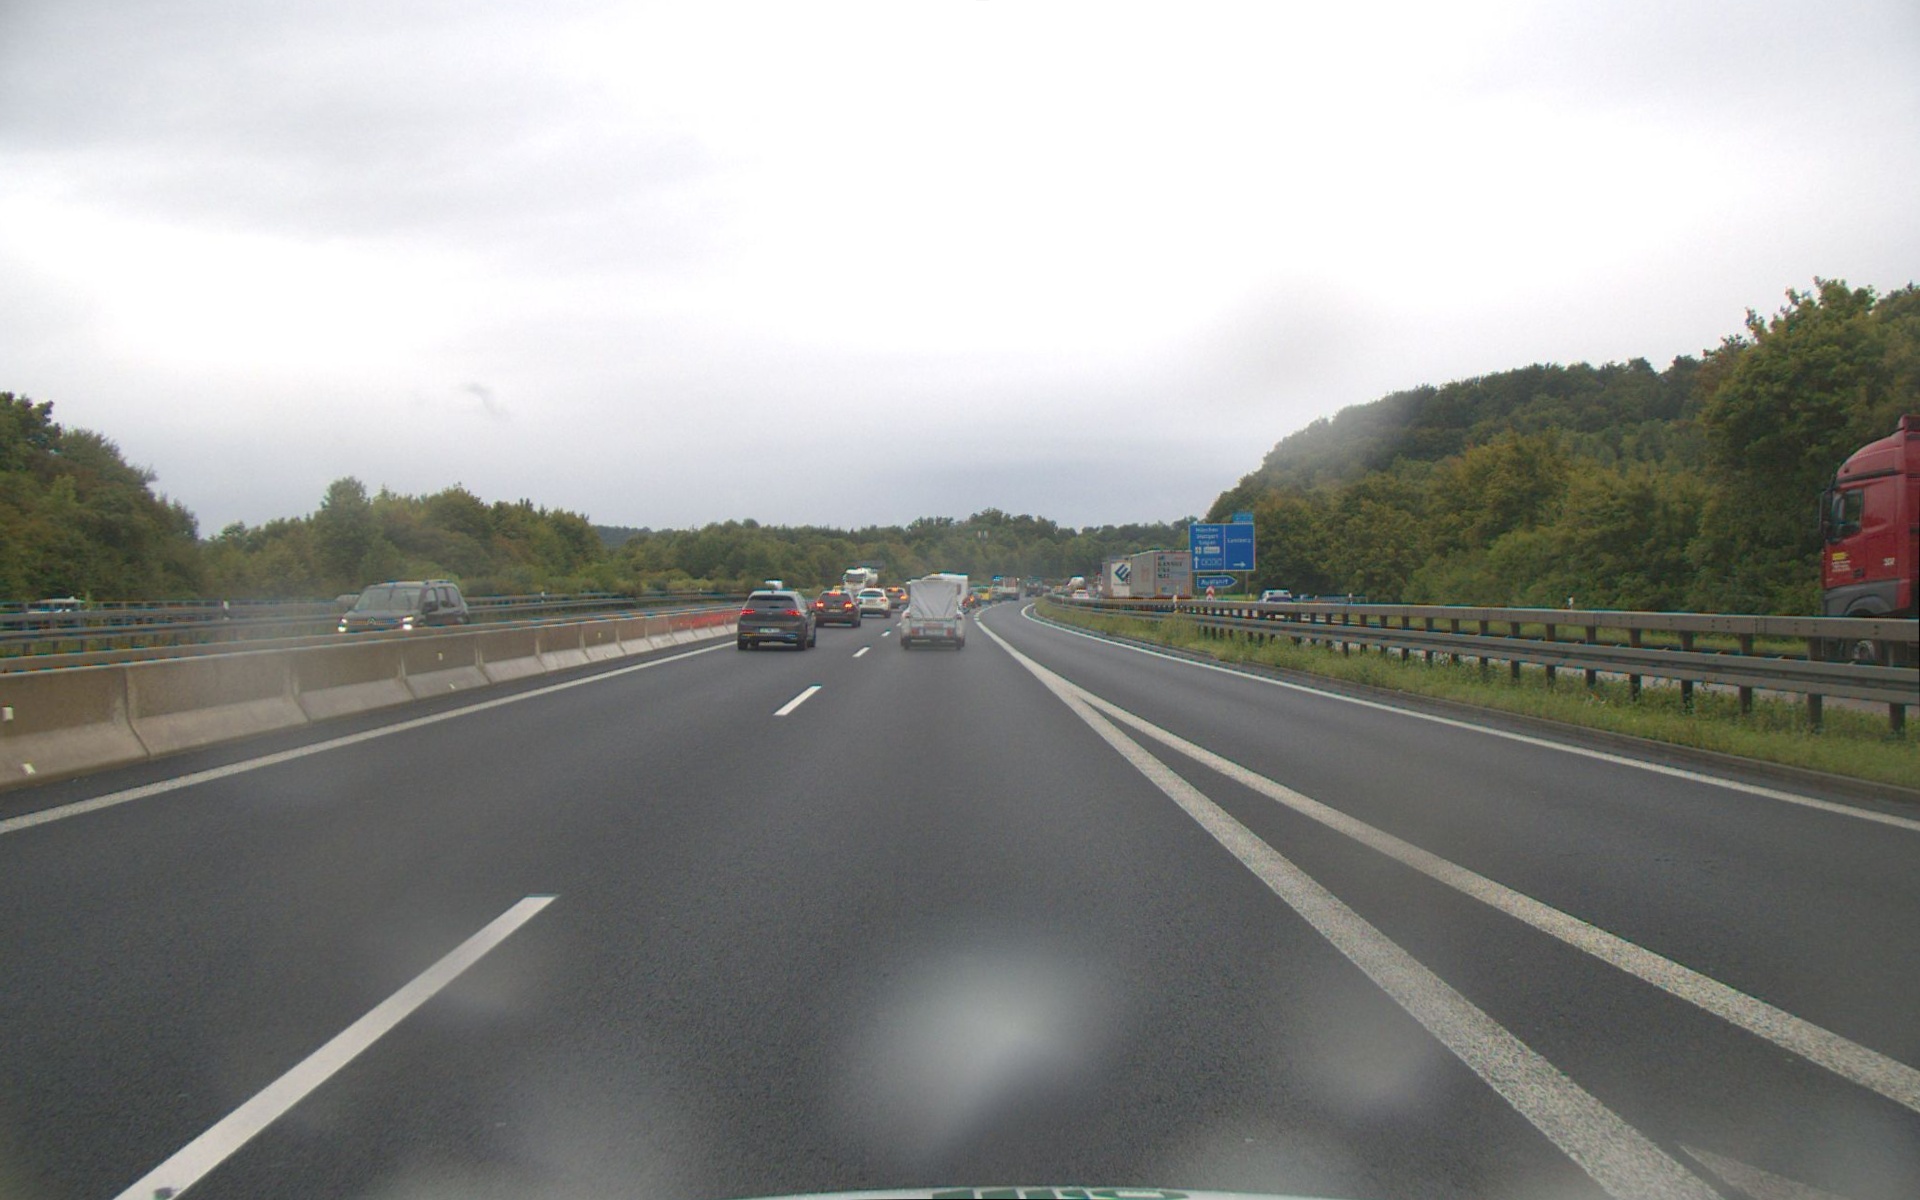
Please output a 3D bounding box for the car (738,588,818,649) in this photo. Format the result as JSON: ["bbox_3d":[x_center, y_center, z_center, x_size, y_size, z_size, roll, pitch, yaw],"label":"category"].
[{"bbox_3d":[-4.628,0.448,42.404,1.641,1.481,3.999,1,0,-1],"label":"car"}]

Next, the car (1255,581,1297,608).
[{"bbox_3d":[18.117,-0.302,94.943,1.641,1.481,4.000,1,0,1],"label":"car"}]

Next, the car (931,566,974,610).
[{"bbox_3d":[-0.437,-0.705,101.845,2.455,2.630,5.700,1,0,1],"label":"car"}]

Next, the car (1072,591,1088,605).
[{"bbox_3d":[13.380,-0.194,184.293,1.641,1.481,4.001,1,0,3],"label":"car"}]

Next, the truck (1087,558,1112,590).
[{"bbox_3d":[21.562,-3.941,255.759,3.586,4.748,13.039,1,0,4],"label":"truck"}]

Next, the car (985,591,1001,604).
[{"bbox_3d":[4.256,-0.324,214.241,1.995,1.712,4.001,1,0,3],"label":"car"}]

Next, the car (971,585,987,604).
[{"bbox_3d":[1.988,-0.561,171.618,1.641,1.844,4.001,1,0,1],"label":"car"}]

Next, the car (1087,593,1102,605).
[{"bbox_3d":[16.943,-0.136,208.981,1.641,1.481,4.000,1,0,1],"label":"car"}]

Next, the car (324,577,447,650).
[{"bbox_3d":[-17.043,0.381,49.317,1.953,2.049,4.981,1,0,-1],"label":"car"}]

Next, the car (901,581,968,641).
[{"bbox_3d":[-0.696,0.312,48.200,1.781,1.644,4.778,1,0,1],"label":"car"}]

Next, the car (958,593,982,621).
[{"bbox_3d":[0.802,0.513,126.754,1.641,2.103,4.002,1,0,3],"label":"car"}]

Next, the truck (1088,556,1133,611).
[{"bbox_3d":[13.562,-1.395,149.854,3.149,4.748,13.035,1,0,1],"label":"truck"}]

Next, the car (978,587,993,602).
[{"bbox_3d":[3.084,-0.678,199.854,1.641,1.844,4.001,1,0,1],"label":"car"}]

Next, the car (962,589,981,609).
[{"bbox_3d":[1.069,-0.109,155.118,1.641,1.844,4.001,1,0,1],"label":"car"}]

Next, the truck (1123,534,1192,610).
[{"bbox_3d":[13.156,-1.752,111.081,3.149,4.748,13.033,1,0,1],"label":"truck"}]

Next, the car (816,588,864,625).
[{"bbox_3d":[-4.898,0.258,67.814,1.729,1.481,3.999,1,0,-1],"label":"car"}]

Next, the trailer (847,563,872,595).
[{"bbox_3d":[-12.222,-2.546,202.498,2.582,3.780,6.492,1,0,0],"label":"trailer"}]

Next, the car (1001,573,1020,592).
[{"bbox_3d":[7.415,-2.540,241.514,2.463,2.619,5.314,1,0,4],"label":"car"}]

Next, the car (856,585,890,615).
[{"bbox_3d":[-4.885,0.001,93.205,1.739,1.669,4.042,1,0,-1],"label":"car"}]

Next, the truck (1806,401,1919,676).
[{"bbox_3d":[15.104,-0.874,23.529,2.564,3.952,6.387,1,0,-3],"label":"truck"}]

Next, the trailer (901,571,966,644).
[{"bbox_3d":[-0.696,0.193,44.471,1.641,1.844,4.000,1,0,0],"label":"trailer"}]

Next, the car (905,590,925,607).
[{"bbox_3d":[-4.306,-0.144,158.291,1.739,1.669,4.043,1,0,1],"label":"car"}]

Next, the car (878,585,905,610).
[{"bbox_3d":[-4.853,-0.173,117.705,1.739,1.669,4.042,1,0,-1],"label":"car"}]

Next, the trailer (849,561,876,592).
[{"bbox_3d":[-12.205,-2.899,208.276,2.582,3.801,10.811,1,0,0],"label":"trailer"}]

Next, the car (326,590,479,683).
[{"bbox_3d":[-13.108,0.813,39.234,1.953,2.049,4.981,1,0,-1],"label":"car"}]
